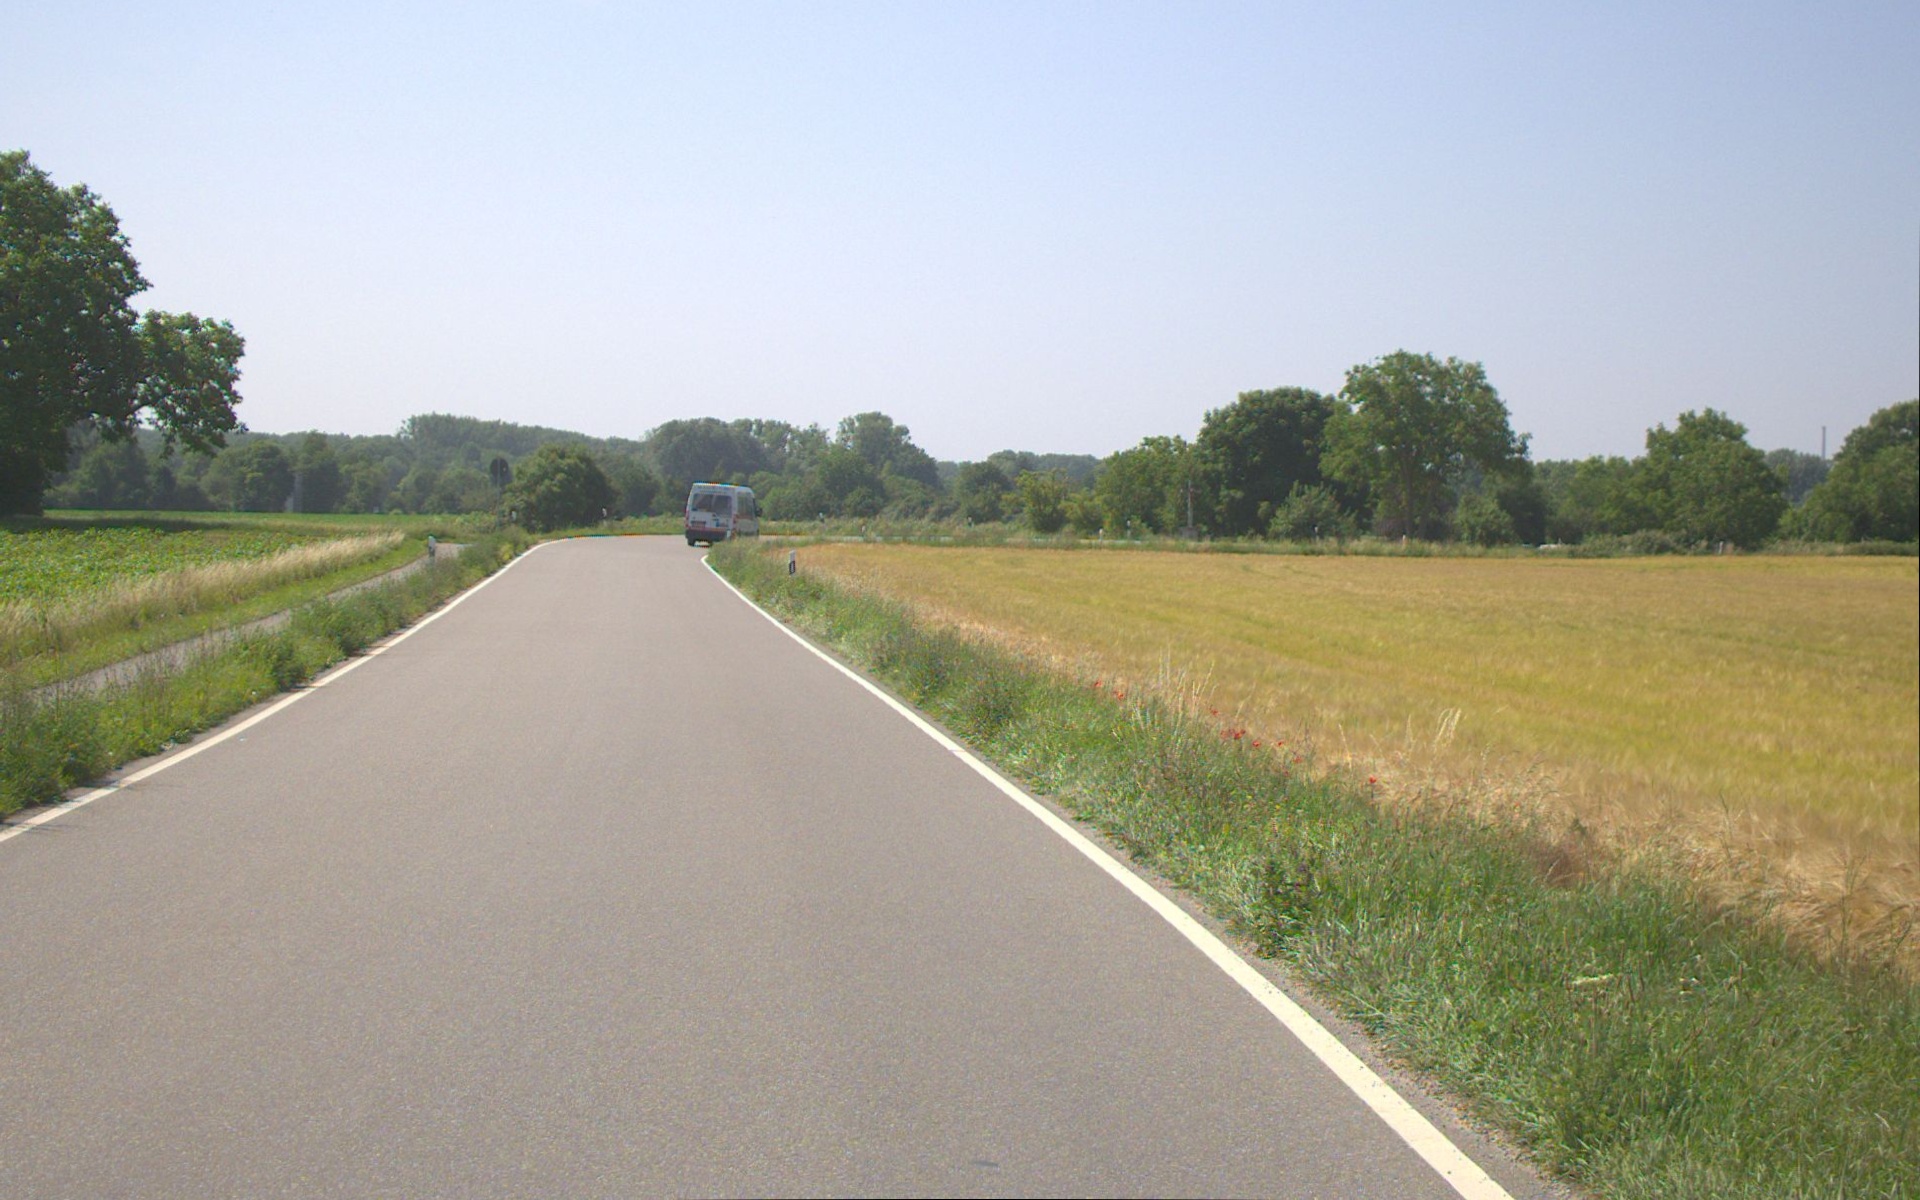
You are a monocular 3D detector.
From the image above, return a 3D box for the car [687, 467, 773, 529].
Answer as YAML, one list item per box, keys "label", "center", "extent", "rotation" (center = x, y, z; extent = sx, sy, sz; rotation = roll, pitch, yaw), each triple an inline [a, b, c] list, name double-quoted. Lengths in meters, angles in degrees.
- label: "car"
  center: [-9.031, -3.997, 135.203]
  extent: [2.105, 2.359, 5.685]
  rotation: [1, 2, 9]
